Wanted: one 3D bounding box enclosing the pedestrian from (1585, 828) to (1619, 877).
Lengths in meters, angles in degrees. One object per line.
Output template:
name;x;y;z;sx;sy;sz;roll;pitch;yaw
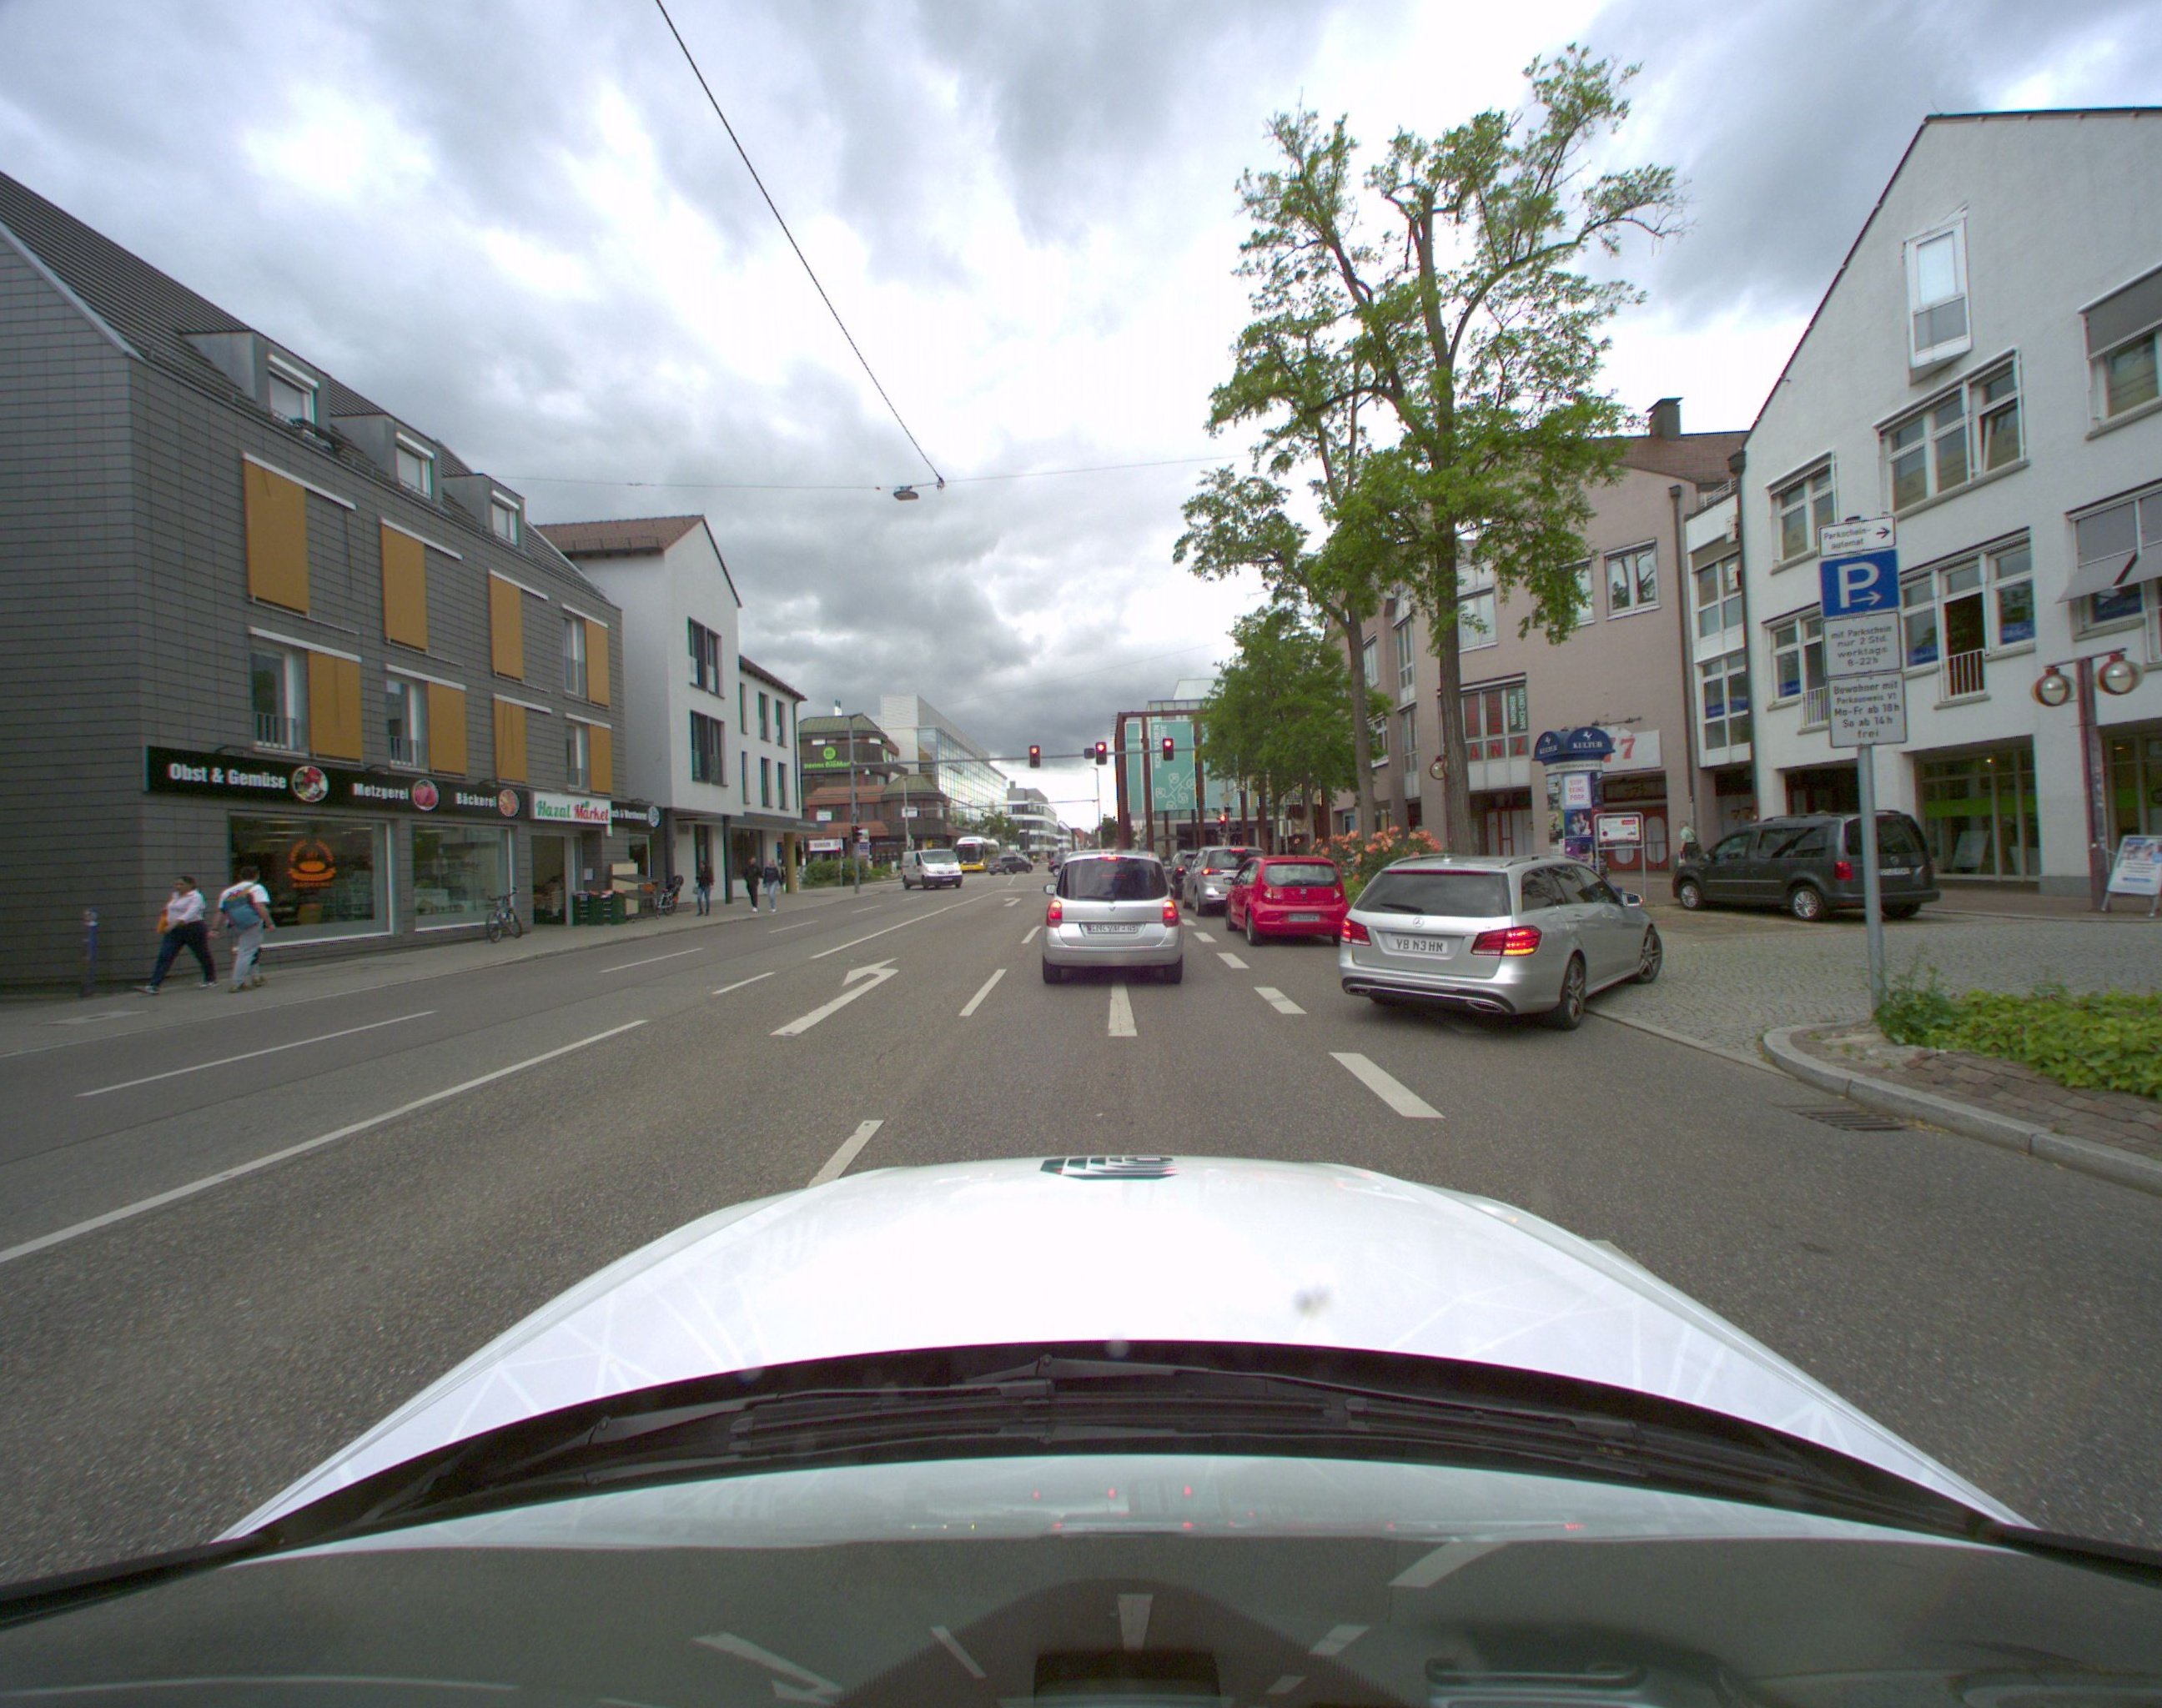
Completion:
pedestrian;16.600;-0.041;25.956;0.611;1.515;0.618;-2;0;-20

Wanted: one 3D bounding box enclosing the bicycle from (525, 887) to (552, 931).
bicycle;-14.562;1.461;21.856;0.390;1.127;1.274;-2;0;-42

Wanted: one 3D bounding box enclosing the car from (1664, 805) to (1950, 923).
car;13.162;0.147;15.149;1.633;1.831;3.963;-3;0;-3

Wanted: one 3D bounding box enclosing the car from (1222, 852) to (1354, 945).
car;3.532;0.691;14.420;1.580;1.443;3.350;0;0;2

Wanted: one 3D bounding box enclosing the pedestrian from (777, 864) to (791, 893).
pedestrian;-17.301;1.428;47.449;0.664;1.649;0.788;-2;0;-20

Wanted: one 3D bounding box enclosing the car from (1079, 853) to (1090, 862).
car;0.693;0.664;159.871;1.793;1.540;4.068;-2;0;3

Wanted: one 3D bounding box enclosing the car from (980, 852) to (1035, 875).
car;-5.899;0.731;65.761;1.898;1.677;4.269;-2;0;39

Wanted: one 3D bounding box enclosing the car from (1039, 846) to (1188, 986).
car;0.412;0.683;10.732;1.634;1.527;3.395;-1;0;2

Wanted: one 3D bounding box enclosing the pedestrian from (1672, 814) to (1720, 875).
pedestrian;18.661;-0.287;24.728;0.786;1.793;0.819;-2;0;1

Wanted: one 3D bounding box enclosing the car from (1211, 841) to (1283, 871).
car;10.621;0.137;52.323;4.369;1.773;1.328;-2;0;1

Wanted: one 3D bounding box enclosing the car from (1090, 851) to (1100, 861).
car;2.721;0.363;160.700;1.987;1.949;4.951;-2;0;1

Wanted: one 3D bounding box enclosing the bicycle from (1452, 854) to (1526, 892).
bicycle;11.326;0.526;22.640;1.760;0.997;0.447;-2;0;5

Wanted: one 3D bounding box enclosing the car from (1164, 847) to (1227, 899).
car;3.764;0.585;27.279;1.581;1.595;3.868;0;0;0

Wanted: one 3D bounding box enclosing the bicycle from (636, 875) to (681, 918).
bicycle;-12.657;1.257;24.423;0.385;1.186;1.825;-2;0;-1

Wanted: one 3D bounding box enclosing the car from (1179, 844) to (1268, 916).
car;3.478;0.581;20.463;1.581;1.634;3.916;0;0;0

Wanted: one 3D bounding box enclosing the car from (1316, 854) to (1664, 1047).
car;4.360;0.732;8.313;4.394;1.448;1.799;0;0;-44

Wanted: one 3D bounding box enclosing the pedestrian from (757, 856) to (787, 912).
pedestrian;-10.006;0.964;26.404;0.680;1.790;0.648;-2;0;-4

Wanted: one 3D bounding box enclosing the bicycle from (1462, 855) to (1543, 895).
bicycle;11.408;0.560;22.083;1.892;0.997;0.468;-2;0;5

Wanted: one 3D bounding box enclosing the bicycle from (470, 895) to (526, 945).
bicycle;-12.540;1.393;17.561;0.325;0.954;1.479;-2;0;-9

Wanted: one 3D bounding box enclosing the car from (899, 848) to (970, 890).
car;-7.455;0.763;41.019;2.005;1.888;5.111;-3;0;-28

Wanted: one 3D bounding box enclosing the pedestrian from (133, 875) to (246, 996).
pedestrian;-12.607;1.131;11.540;0.725;1.610;0.753;-2;0;2

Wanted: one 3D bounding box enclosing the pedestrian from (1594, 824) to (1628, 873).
pedestrian;17.232;-0.172;26.501;0.665;1.563;0.618;-2;0;-20

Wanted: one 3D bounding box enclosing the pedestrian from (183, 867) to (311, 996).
pedestrian;-11.683;1.056;11.449;0.751;1.705;0.981;1;0;1

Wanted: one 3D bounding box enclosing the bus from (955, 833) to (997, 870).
bus;-9.905;-0.254;77.903;2.677;3.261;8.654;-2;0;1

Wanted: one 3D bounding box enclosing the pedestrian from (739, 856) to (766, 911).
pedestrian;-10.786;0.963;26.734;0.567;1.775;0.646;-2;0;-1

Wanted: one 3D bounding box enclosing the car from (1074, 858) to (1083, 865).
car;-0.525;1.779;193.635;1.793;1.540;4.068;-2;0;3

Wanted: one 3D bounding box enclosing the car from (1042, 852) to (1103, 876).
car;-0.525;0.637;52.694;3.815;1.389;1.685;-2;0;2

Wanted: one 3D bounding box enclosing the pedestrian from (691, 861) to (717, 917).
pedestrian;-11.478;1.054;24.822;0.654;1.650;0.555;-2;0;-22
